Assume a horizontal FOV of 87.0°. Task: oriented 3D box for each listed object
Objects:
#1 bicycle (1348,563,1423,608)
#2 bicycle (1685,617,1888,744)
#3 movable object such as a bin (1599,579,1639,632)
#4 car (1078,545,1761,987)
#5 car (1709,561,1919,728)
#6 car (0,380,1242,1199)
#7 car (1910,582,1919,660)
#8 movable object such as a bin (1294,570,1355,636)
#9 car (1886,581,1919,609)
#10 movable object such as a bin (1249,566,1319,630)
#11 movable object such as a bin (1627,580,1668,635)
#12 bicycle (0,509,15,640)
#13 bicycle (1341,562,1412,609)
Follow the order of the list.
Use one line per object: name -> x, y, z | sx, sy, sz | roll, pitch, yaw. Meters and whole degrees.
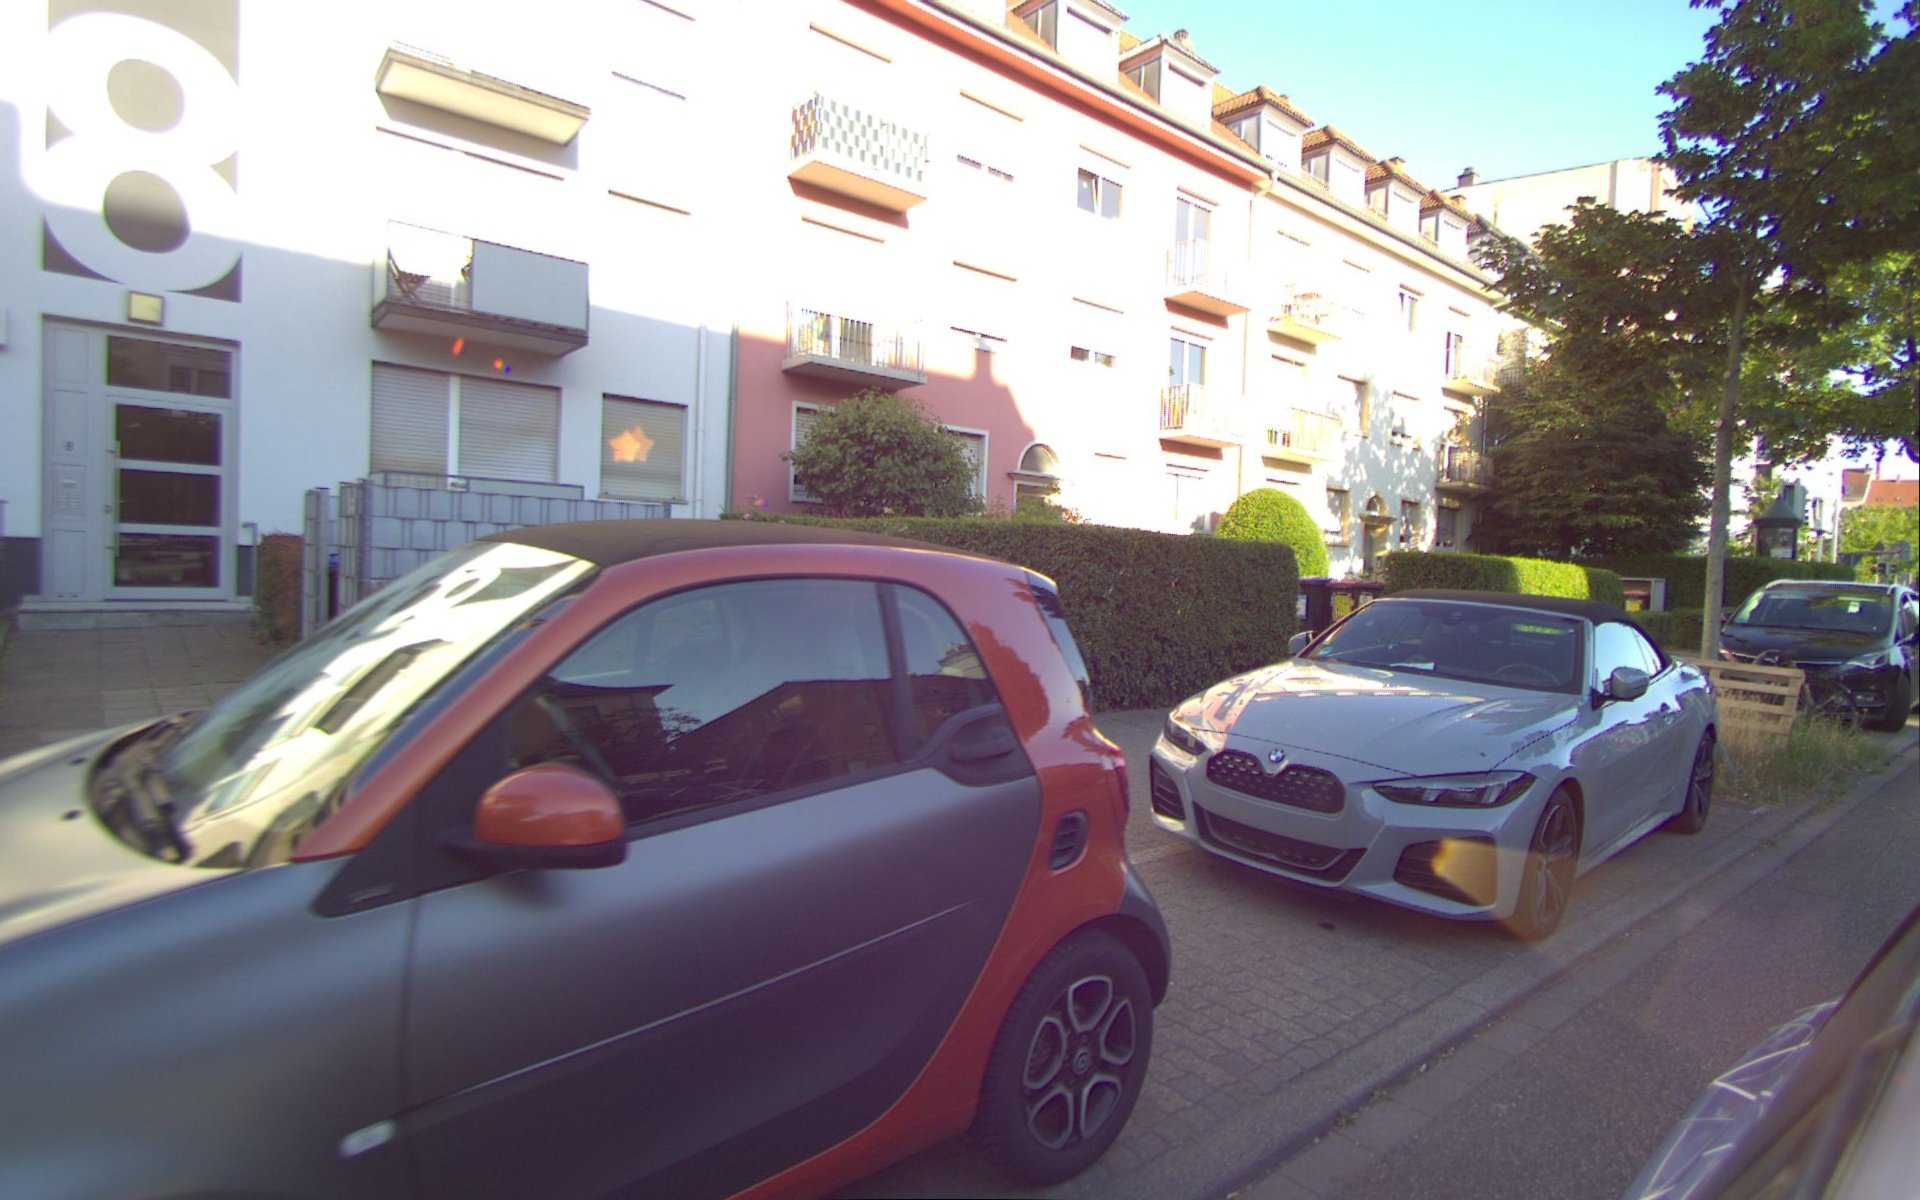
bicycle -> 10.569, -0.362, 25.173 | 0.419, 1.069, 1.649 | 1, 2, -44
bicycle -> 8.016, 0.747, 9.883 | 1.474, 1.072, 0.406 | 3, 2, 38
movable object such as a bin -> 15.917, 0.129, 24.453 | 0.814, 1.236, 0.554 | 1, 2, -40
car -> 2.928, 0.538, 5.788 | 4.666, 1.504, 1.922 | 0, 2, -44
car -> 10.817, 0.442, 12.346 | 4.215, 1.671, 1.736 | 0, 2, -40
car -> -1.228, 0.548, 2.121 | 3.693, 1.662, 1.776 | -1, 3, -42
car -> 21.282, 0.467, 21.080 | 3.581, 1.570, 1.736 | 0, 2, -40
movable object such as a bin -> 5.868, 0.043, 16.292 | 0.782, 1.015, 0.583 | 1, 2, -40
car -> 54.652, -0.231, 56.594 | 1.799, 1.478, 3.903 | 1, 2, -35
movable object such as a bin -> 5.374, -0.041, 16.783 | 0.782, 1.015, 0.778 | 1, 2, -40
movable object such as a bin -> 16.270, 0.167, 23.949 | 0.814, 1.255, 0.554 | 1, 2, -40
bicycle -> -8.723, -0.228, 8.206 | 1.517, 1.102, 0.493 | 1, 2, -41
bicycle -> 10.110, -0.362, 24.609 | 0.419, 1.069, 1.522 | 1, 2, -44
